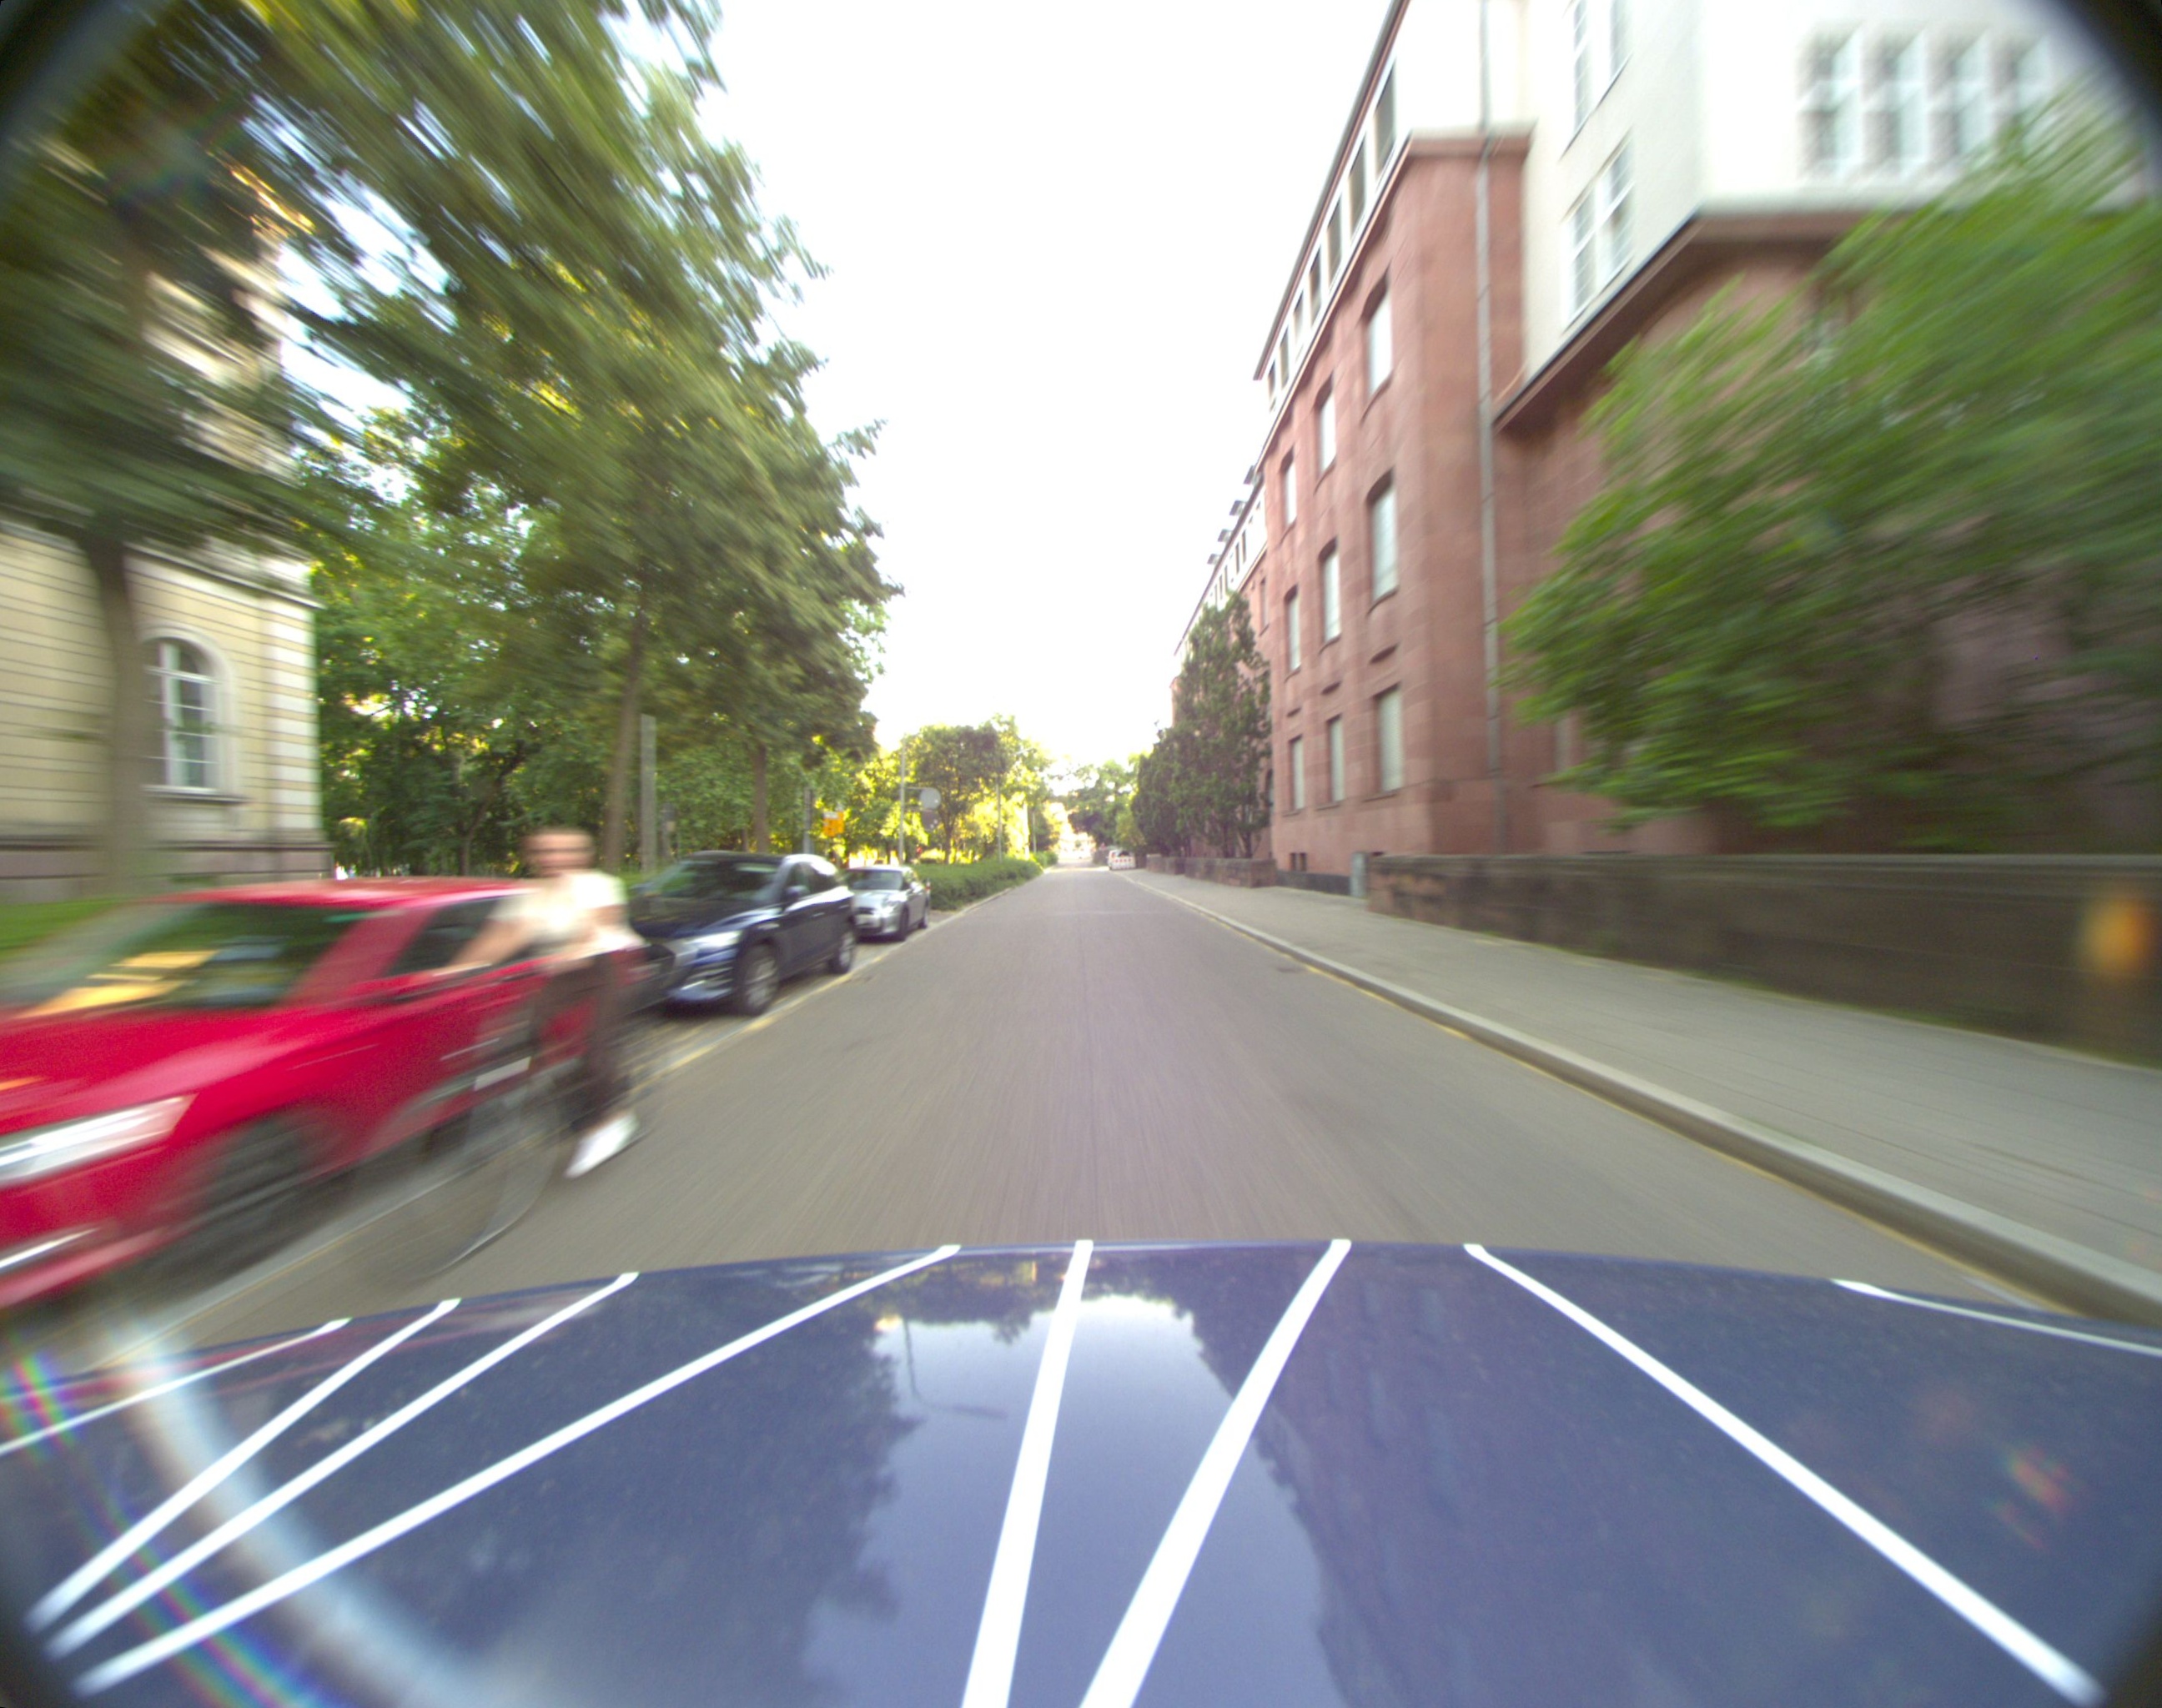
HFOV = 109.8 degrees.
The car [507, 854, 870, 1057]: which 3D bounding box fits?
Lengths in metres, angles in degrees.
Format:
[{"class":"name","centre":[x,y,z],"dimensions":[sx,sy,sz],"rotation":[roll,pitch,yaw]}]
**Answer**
[{"class":"car","centre":[-4.131,0.903,9.093],"dimensions":[1.886,1.678,4.693],"rotation":[-1,1,0]}]

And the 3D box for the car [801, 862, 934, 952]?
[{"class":"car","centre":[-4.156,0.965,15.438],"dimensions":[1.728,1.430,3.998],"rotation":[-1,1,-3]}]

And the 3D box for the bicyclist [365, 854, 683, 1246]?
[{"class":"bicyclist","centre":[-2.576,0.811,3.670],"dimensions":[0.753,1.603,1.038],"rotation":[-1,1,-3]}]

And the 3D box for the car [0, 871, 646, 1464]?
[{"class":"car","centre":[-4.109,0.974,3.754],"dimensions":[1.728,1.580,3.967],"rotation":[-1,1,-3]}]

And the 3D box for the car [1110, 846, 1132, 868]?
[{"class":"car","centre":[3.902,0.301,74.991],"dimensions":[1.886,2.040,4.323],"rotation":[-1,1,0]}]

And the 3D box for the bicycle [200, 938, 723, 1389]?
[{"class":"bicycle","centre":[-2.592,1.157,3.654],"dimensions":[0.753,1.245,2.209],"rotation":[-1,0,-3]}]
